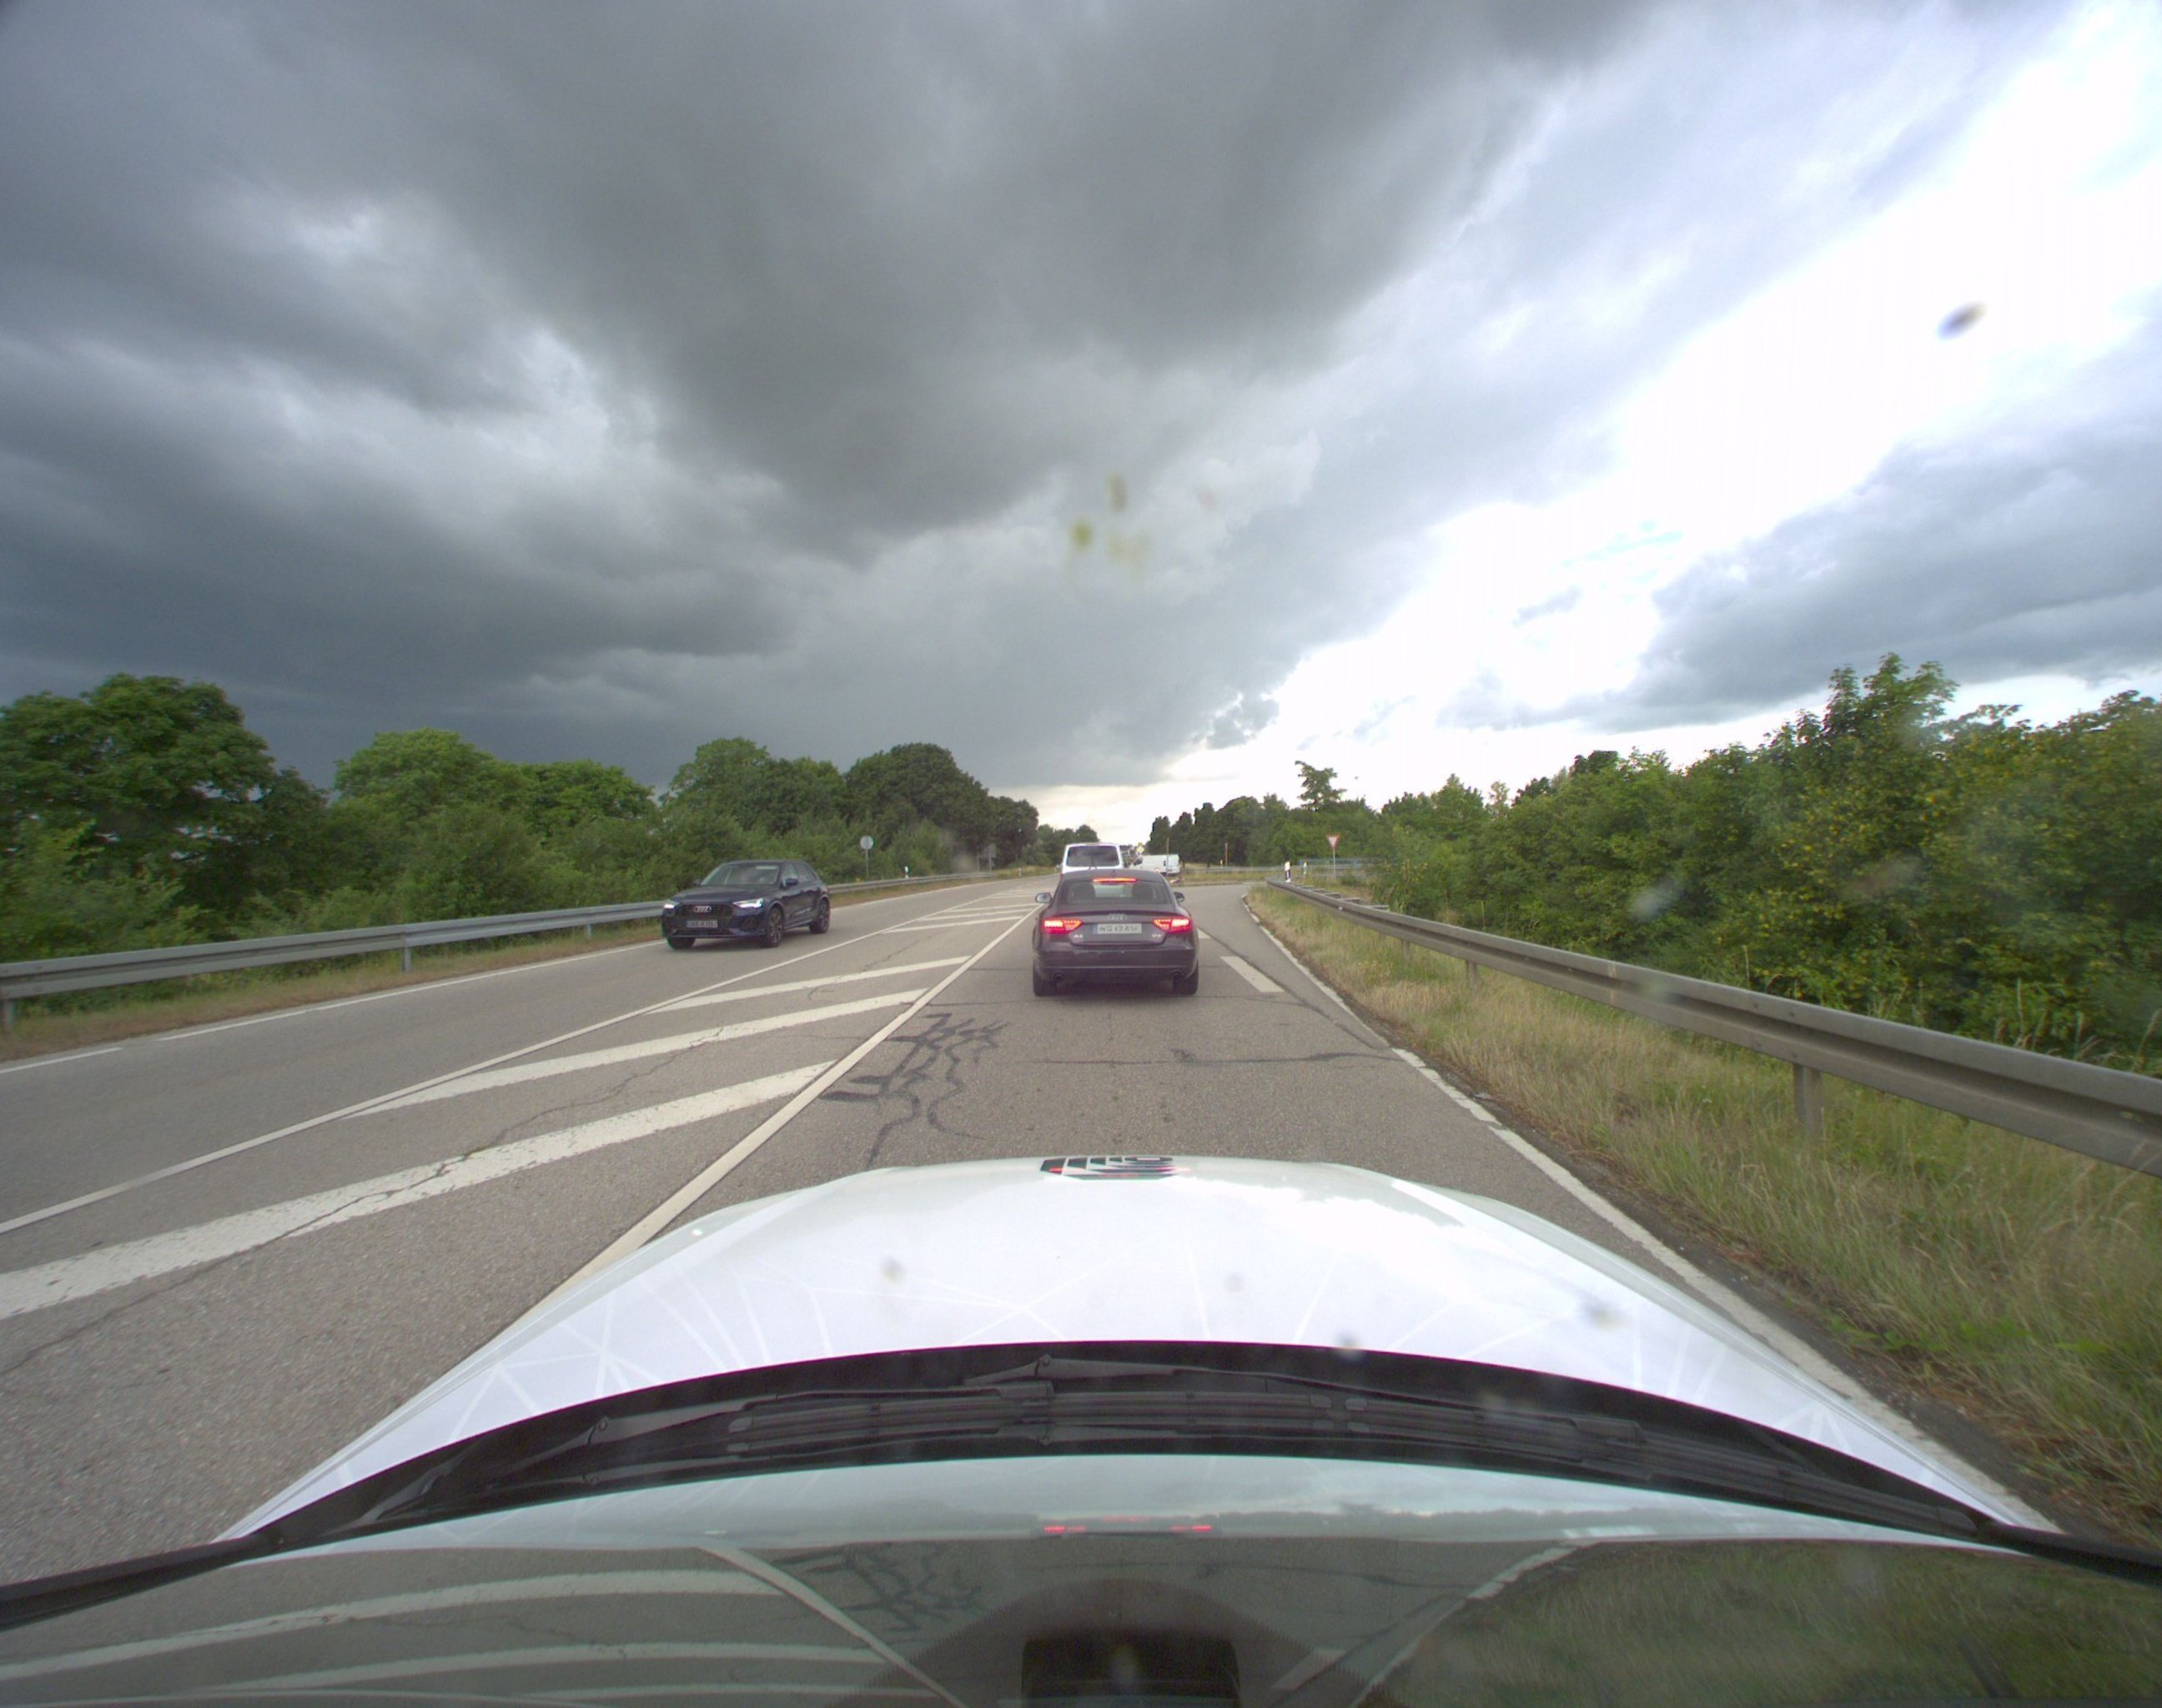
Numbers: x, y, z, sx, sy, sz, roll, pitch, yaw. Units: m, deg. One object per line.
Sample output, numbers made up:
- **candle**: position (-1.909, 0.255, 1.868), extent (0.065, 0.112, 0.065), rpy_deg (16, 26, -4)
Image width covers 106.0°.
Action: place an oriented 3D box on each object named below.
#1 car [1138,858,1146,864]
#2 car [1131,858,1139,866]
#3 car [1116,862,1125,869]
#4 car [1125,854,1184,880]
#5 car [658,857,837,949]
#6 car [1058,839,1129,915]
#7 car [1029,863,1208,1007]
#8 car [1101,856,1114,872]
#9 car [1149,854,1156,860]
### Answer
- **car**: position (18.584, 2.083, 247.401), extent (2.198, 1.582, 4.379), rpy_deg (0, 0, 1)
- **car**: position (14.716, 2.235, 221.037), extent (1.985, 2.013, 4.003), rpy_deg (0, 0, 3)
- **car**: position (8.308, 2.356, 173.220), extent (1.514, 1.399, 3.191), rpy_deg (-1, -2, 9)
- **car**: position (6.119, 1.077, 68.426), extent (2.099, 2.064, 4.817), rpy_deg (0, 0, -41)
- **car**: position (-6.219, 0.828, 15.746), extent (1.704, 1.518, 4.209), rpy_deg (0, 0, 0)
- **car**: position (0.356, 0.615, 23.886), extent (1.904, 2.013, 4.000), rpy_deg (0, 0, 1)
- **car**: position (0.390, 0.824, 9.792), extent (1.774, 1.399, 3.336), rpy_deg (-1, 0, 0)
- **car**: position (4.059, 1.473, 125.135), extent (1.986, 2.409, 4.002), rpy_deg (1, 0, 2)
- **car**: position (21.185, 0.892, 242.226), extent (1.985, 1.692, 4.004), rpy_deg (0, 0, 3)
